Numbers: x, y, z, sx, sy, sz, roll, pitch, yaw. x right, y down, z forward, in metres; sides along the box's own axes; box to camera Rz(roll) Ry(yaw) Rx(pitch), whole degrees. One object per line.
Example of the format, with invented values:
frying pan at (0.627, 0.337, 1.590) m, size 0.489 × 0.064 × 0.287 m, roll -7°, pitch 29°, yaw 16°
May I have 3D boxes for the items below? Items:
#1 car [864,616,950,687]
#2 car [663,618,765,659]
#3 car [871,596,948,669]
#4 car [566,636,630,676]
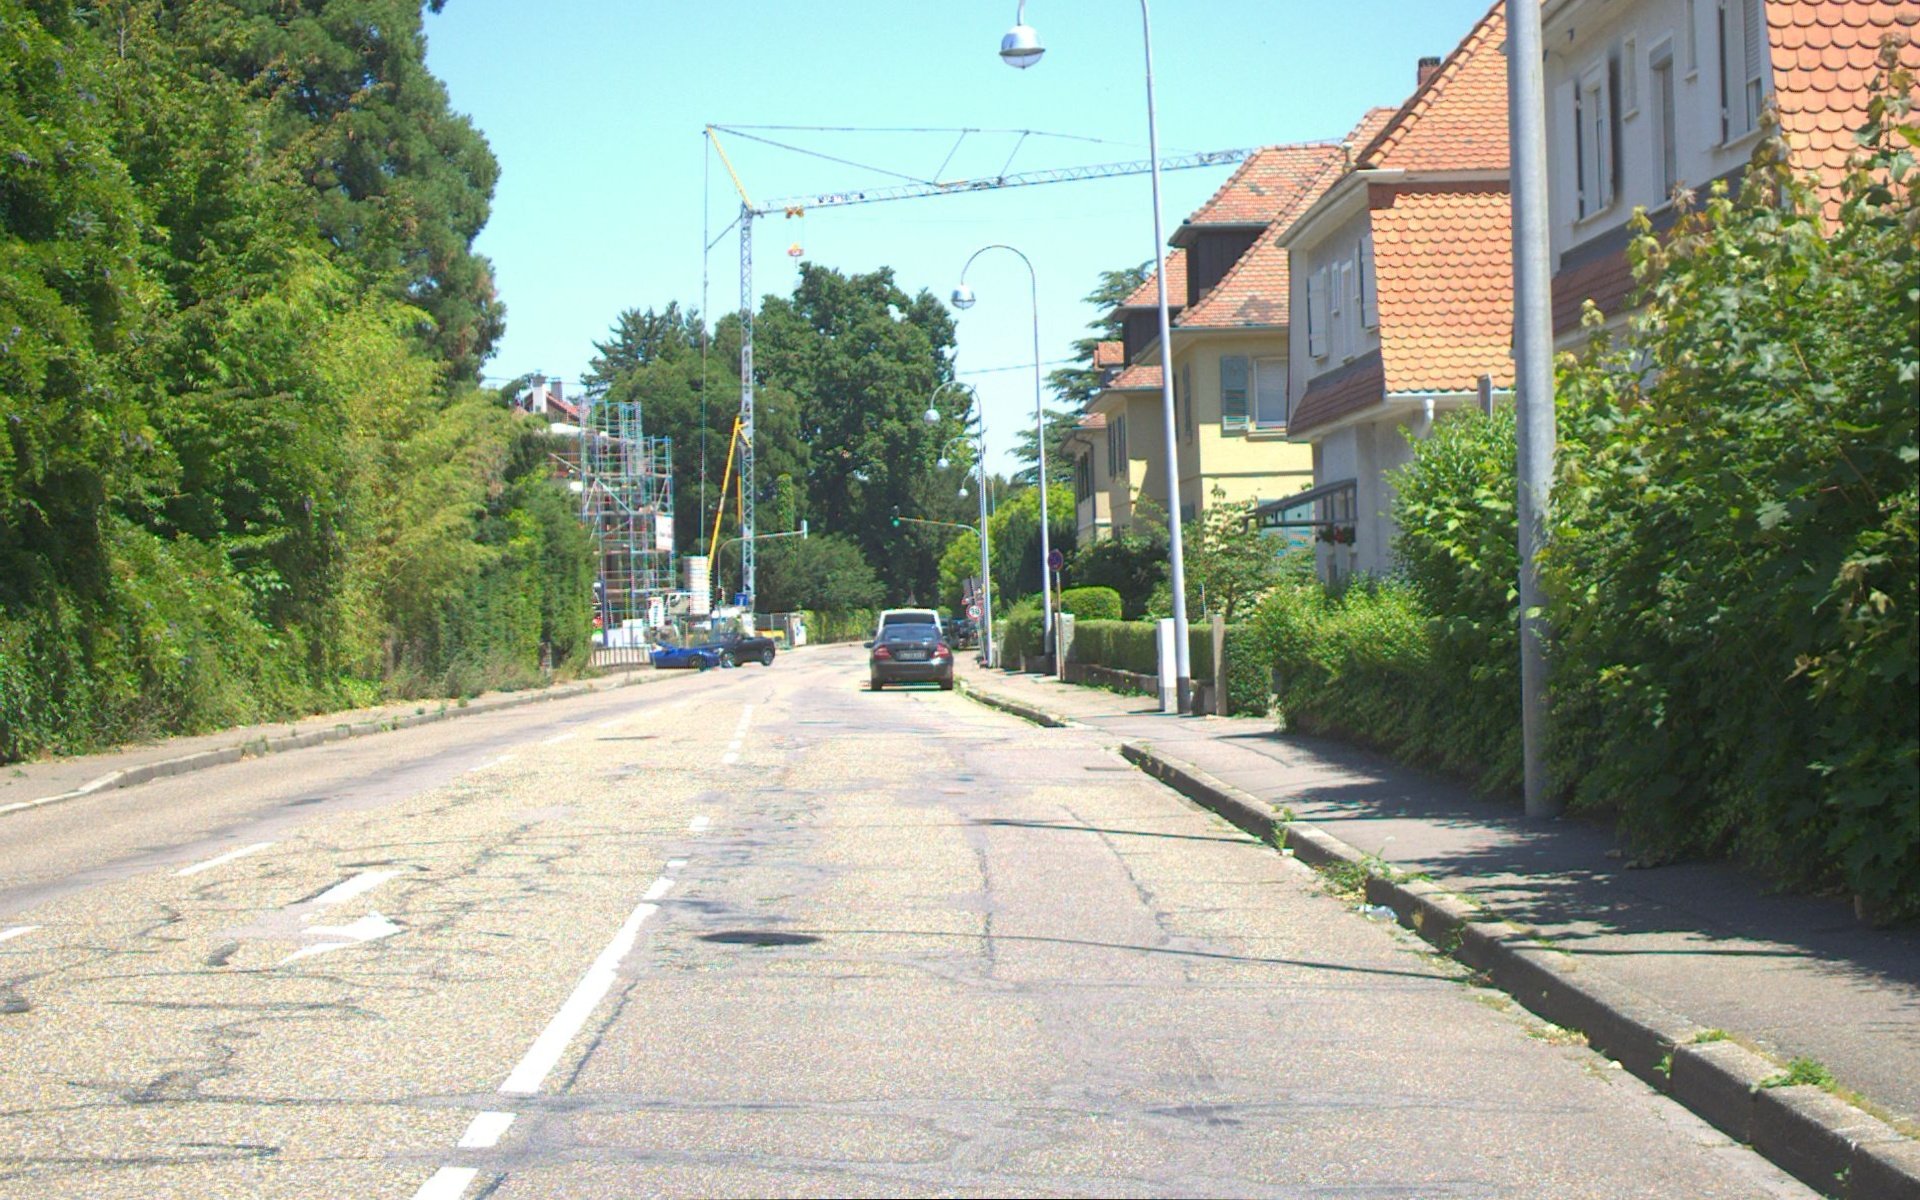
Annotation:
car at (-1.151, 1.094, 72.408) m, size 1.692 × 1.414 × 4.551 m, roll -1°, pitch -1°, yaw -2°
car at (-9.842, 1.524, 137.564) m, size 3.986 × 1.463 × 1.965 m, roll -2°, pitch 1°, yaw -4°
car at (-1.387, 0.880, 92.328) m, size 1.993 × 1.895 × 4.823 m, roll 0°, pitch -1°, yaw -2°
car at (-13.203, 2.027, 125.549) m, size 1.660 × 1.384 × 3.534 m, roll -2°, pitch -1°, yaw 5°
